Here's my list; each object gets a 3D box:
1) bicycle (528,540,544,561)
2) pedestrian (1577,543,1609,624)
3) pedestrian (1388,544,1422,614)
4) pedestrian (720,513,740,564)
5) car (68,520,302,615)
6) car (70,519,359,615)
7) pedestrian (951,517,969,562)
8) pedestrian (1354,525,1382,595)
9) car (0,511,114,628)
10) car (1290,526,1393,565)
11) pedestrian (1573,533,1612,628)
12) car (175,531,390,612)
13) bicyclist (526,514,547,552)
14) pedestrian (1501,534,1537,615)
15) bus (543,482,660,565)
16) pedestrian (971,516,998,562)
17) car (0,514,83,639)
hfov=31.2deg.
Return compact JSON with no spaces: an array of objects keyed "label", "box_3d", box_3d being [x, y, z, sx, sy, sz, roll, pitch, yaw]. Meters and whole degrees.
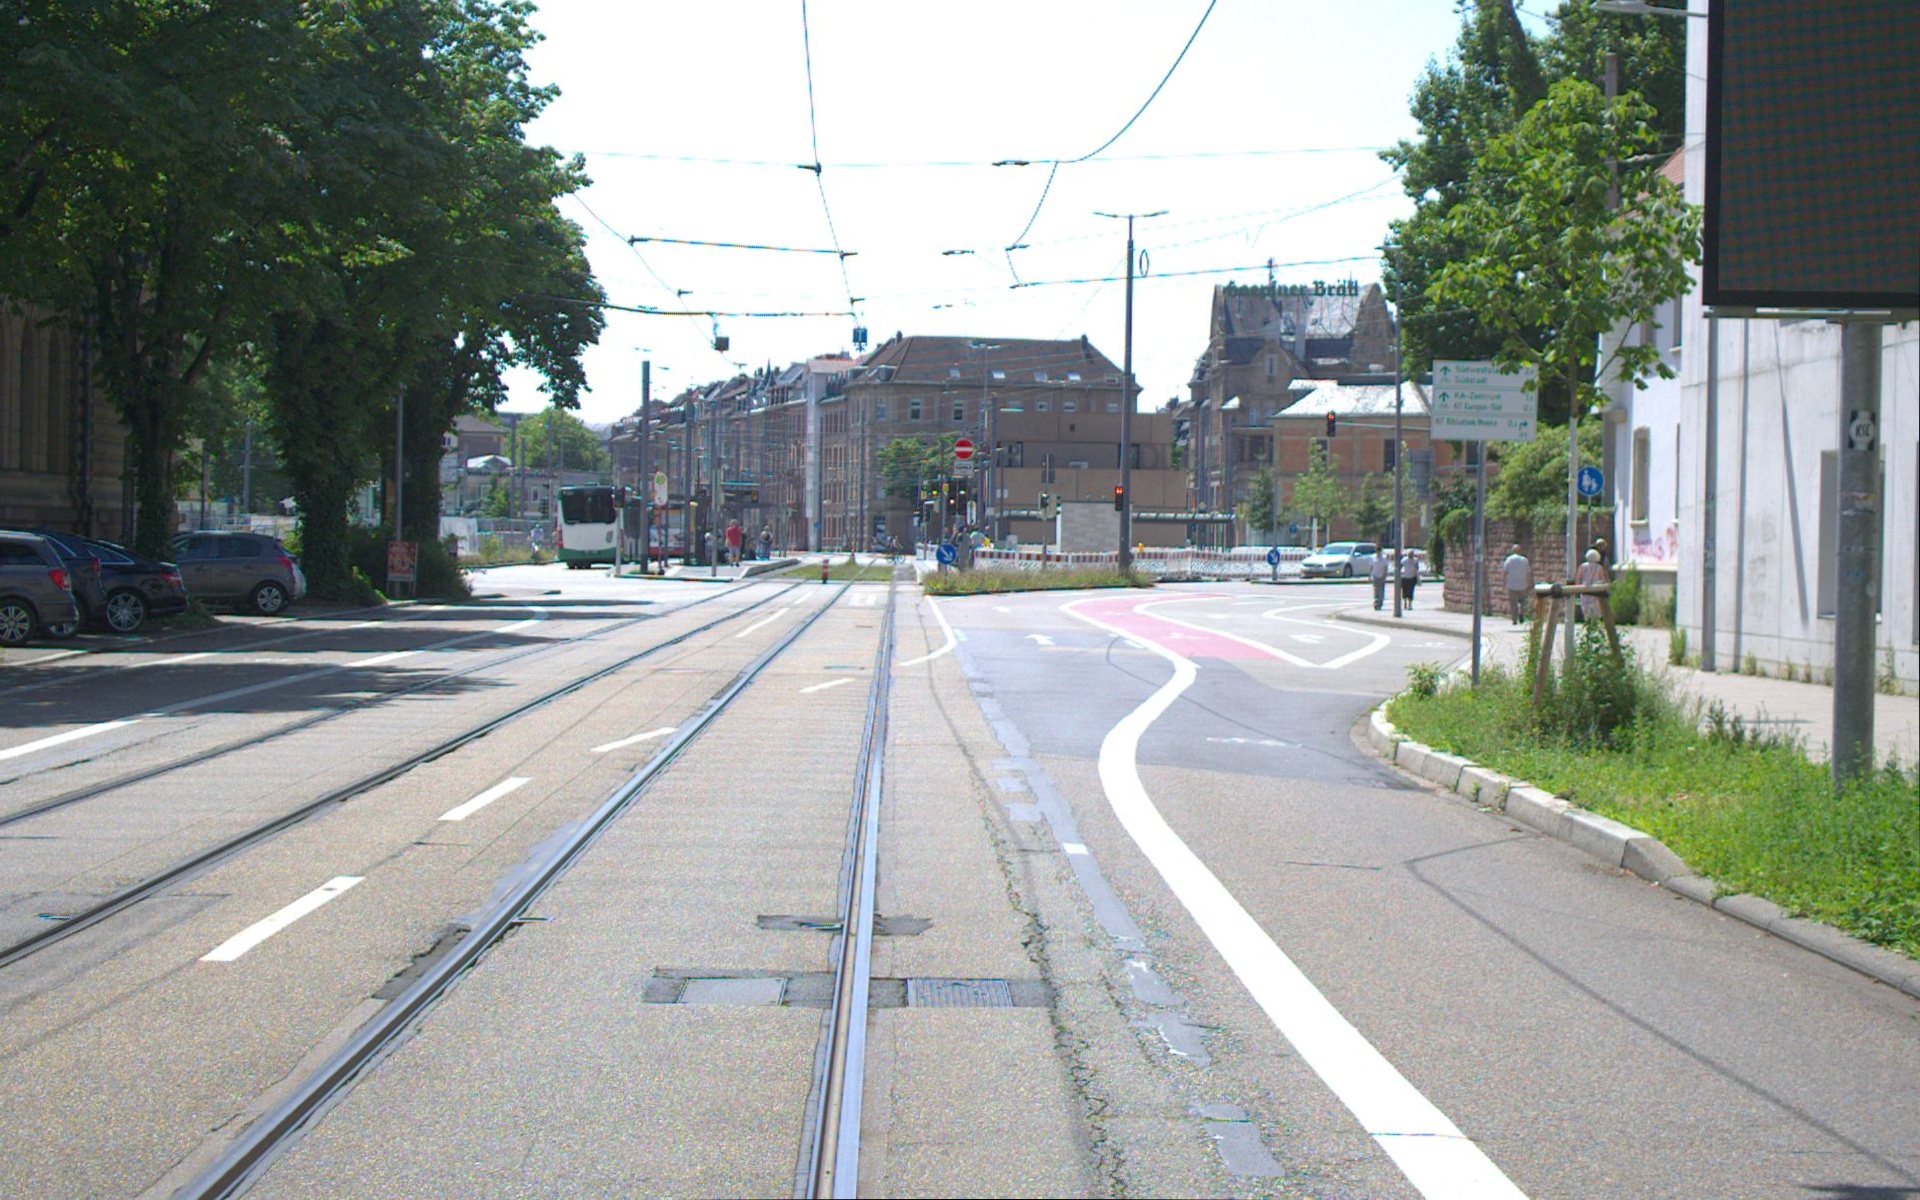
[{"label":"bicycle","box_3d":[-18.928,-2.204,153.427,0.503,0.911,2.371,1,1,-2]},{"label":"pedestrian","box_3d":[12.052,-0.322,65.492,0.515,1.527,0.597,1,1,4]},{"label":"pedestrian","box_3d":[11.612,-0.561,89.717,0.814,1.801,0.700,1,1,4]},{"label":"pedestrian","box_3d":[-8.620,-2.291,128.750,0.672,1.903,0.641,0,1,-10]},{"label":"car","box_3d":[-13.654,-0.571,60.586,3.664,1.514,1.670,2,1,-29]},{"label":"car","box_3d":[-11.092,-0.503,51.163,3.920,1.369,1.670,0,2,-26]},{"label":"pedestrian","box_3d":[-0.011,-2.279,129.918,0.526,1.669,0.752,1,0,-8]},{"label":"pedestrian","box_3d":[10.675,-1.050,89.942,0.677,1.801,0.748,1,1,3]},{"label":"car","box_3d":[-13.703,-0.430,46.991,3.805,1.571,1.794,0,2,-30]},{"label":"car","box_3d":[14.616,-2.074,131.485,1.997,1.433,4.696,1,1,33]},{"label":"pedestrian","box_3d":[12.044,-0.369,65.456,0.627,1.767,0.718,3,-1,13]},{"label":"car","box_3d":[-12.538,-0.531,63.663,3.537,1.401,1.702,1,1,-29]},{"label":"bicyclist","box_3d":[-18.907,-2.996,153.455,0.820,1.704,0.770,1,1,-2]},{"label":"pedestrian","box_3d":[11.529,-0.527,70.968,0.661,1.641,0.624,1,1,4]},{"label":"bus","box_3d":[-14.476,-3.100,140.246,3.010,3.147,17.499,1,1,0]},{"label":"pedestrian","box_3d":[0.983,-2.450,138.190,0.765,1.858,0.730,1,0,-41]},{"label":"car","box_3d":[-13.637,-0.361,44.080,4.307,1.579,1.669,2,1,-30]}]
